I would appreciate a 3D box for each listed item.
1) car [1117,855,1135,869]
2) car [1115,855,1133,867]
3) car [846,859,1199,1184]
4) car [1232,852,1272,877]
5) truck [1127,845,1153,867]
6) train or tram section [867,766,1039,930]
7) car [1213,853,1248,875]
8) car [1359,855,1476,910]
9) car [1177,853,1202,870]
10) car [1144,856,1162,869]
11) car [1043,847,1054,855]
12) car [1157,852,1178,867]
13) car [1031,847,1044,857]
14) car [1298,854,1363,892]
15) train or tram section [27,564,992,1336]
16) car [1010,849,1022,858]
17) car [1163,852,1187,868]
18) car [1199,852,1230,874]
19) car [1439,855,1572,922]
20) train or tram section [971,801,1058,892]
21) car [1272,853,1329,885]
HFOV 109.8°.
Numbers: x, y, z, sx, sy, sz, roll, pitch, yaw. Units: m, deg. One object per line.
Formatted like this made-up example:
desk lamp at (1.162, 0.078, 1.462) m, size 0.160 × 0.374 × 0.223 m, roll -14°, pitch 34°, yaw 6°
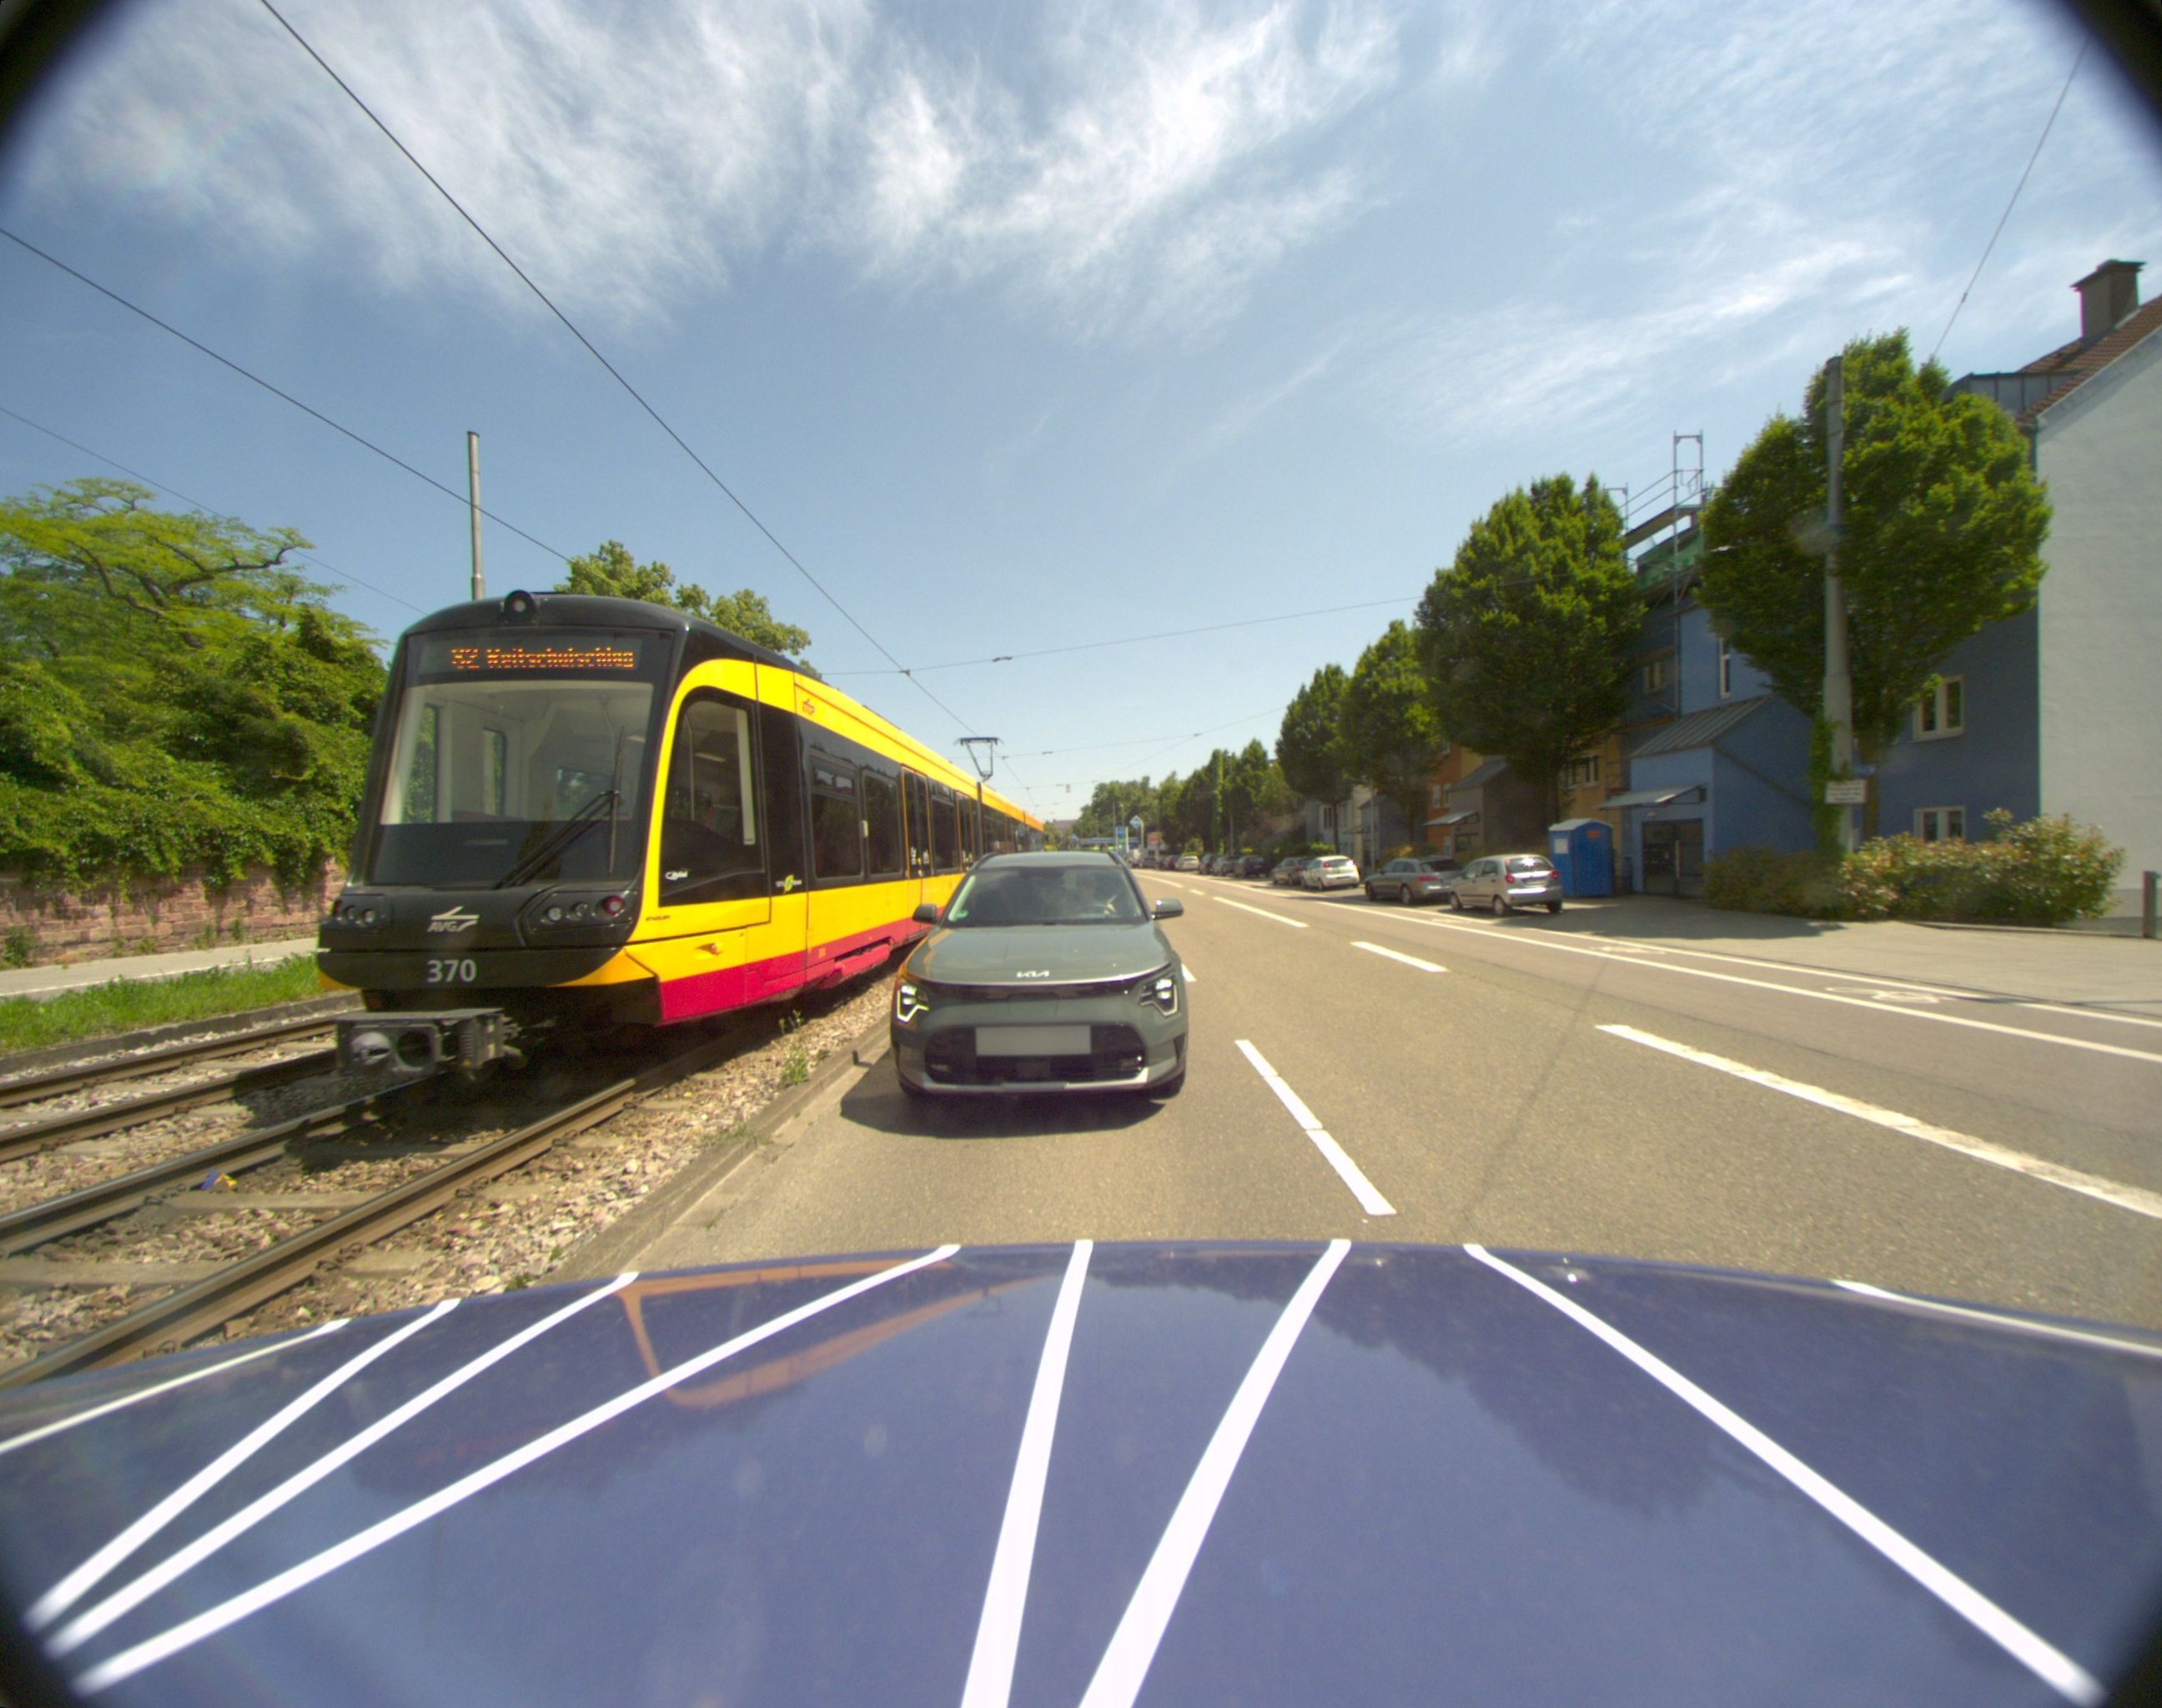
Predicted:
car at (5.545, 1.003, 93.834) m, size 1.865 × 1.487 × 3.470 m, roll -5°, pitch 0°, yaw 0°
car at (6.353, 1.006, 111.527) m, size 1.866 × 1.487 × 3.468 m, roll -5°, pitch 0°, yaw -8°
car at (-0.269, 0.880, 6.125) m, size 1.759 × 1.574 × 4.427 m, roll -2°, pitch 0°, yaw 1°
car at (11.585, 0.661, 51.682) m, size 1.656 × 1.487 × 4.082 m, roll -5°, pitch 0°, yaw 0°
truck at (7.735, 0.276, 99.784) m, size 2.135 × 2.565 × 4.861 m, roll -5°, pitch 0°, yaw -8°
train or tram section at (-3.413, -0.227, 25.129) m, size 2.783 × 3.789 × 14.261 m, roll -2°, pitch 1°, yaw 1°
car at (11.049, 0.709, 56.498) m, size 1.656 × 1.487 × 4.082 m, roll -5°, pitch 0°, yaw 0°
car at (10.909, 0.847, 25.026) m, size 1.680 × 1.487 × 4.638 m, roll -5°, pitch 0°, yaw 0°
car at (10.504, 0.693, 73.753) m, size 1.723 × 1.487 × 4.082 m, roll -5°, pitch 0°, yaw 0°
car at (8.864, 1.056, 93.785) m, size 1.865 × 1.487 × 3.470 m, roll -5°, pitch 0°, yaw 0°
car at (-5.724, -0.550, 134.795) m, size 1.865 × 1.487 × 3.470 m, roll -1°, pitch 0°, yaw -1°
car at (9.604, 0.643, 84.690) m, size 1.865 × 1.487 × 3.470 m, roll -5°, pitch 0°, yaw 0°
car at (-6.422, -0.281, 112.140) m, size 1.865 × 1.487 × 3.470 m, roll -1°, pitch 0°, yaw -1°
car at (11.390, 0.830, 34.891) m, size 1.656 × 1.487 × 3.649 m, roll -5°, pitch 0°, yaw 0°
train or tram section at (-3.680, 0.424, 10.943) m, size 2.813 × 3.785 × 14.260 m, roll -2°, pitch 1°, yaw 1°
car at (-10.894, -0.108, 127.655) m, size 1.865 × 1.487 × 3.470 m, roll -1°, pitch 0°, yaw -1°
car at (9.857, 0.660, 79.878) m, size 1.865 × 1.487 × 3.470 m, roll -5°, pitch 0°, yaw 0°
car at (10.988, 0.712, 62.694) m, size 1.656 × 1.578 × 4.082 m, roll -5°, pitch 0°, yaw 0°
car at (10.955, 0.827, 19.856) m, size 1.505 × 1.487 × 3.282 m, roll -5°, pitch 0°, yaw 0°
train or tram section at (-3.036, -0.399, 39.396) m, size 2.783 × 3.786 × 14.261 m, roll -2°, pitch 1°, yaw 1°
car at (11.527, 0.743, 40.160) m, size 1.656 × 1.487 × 4.082 m, roll -5°, pitch 0°, yaw 0°
